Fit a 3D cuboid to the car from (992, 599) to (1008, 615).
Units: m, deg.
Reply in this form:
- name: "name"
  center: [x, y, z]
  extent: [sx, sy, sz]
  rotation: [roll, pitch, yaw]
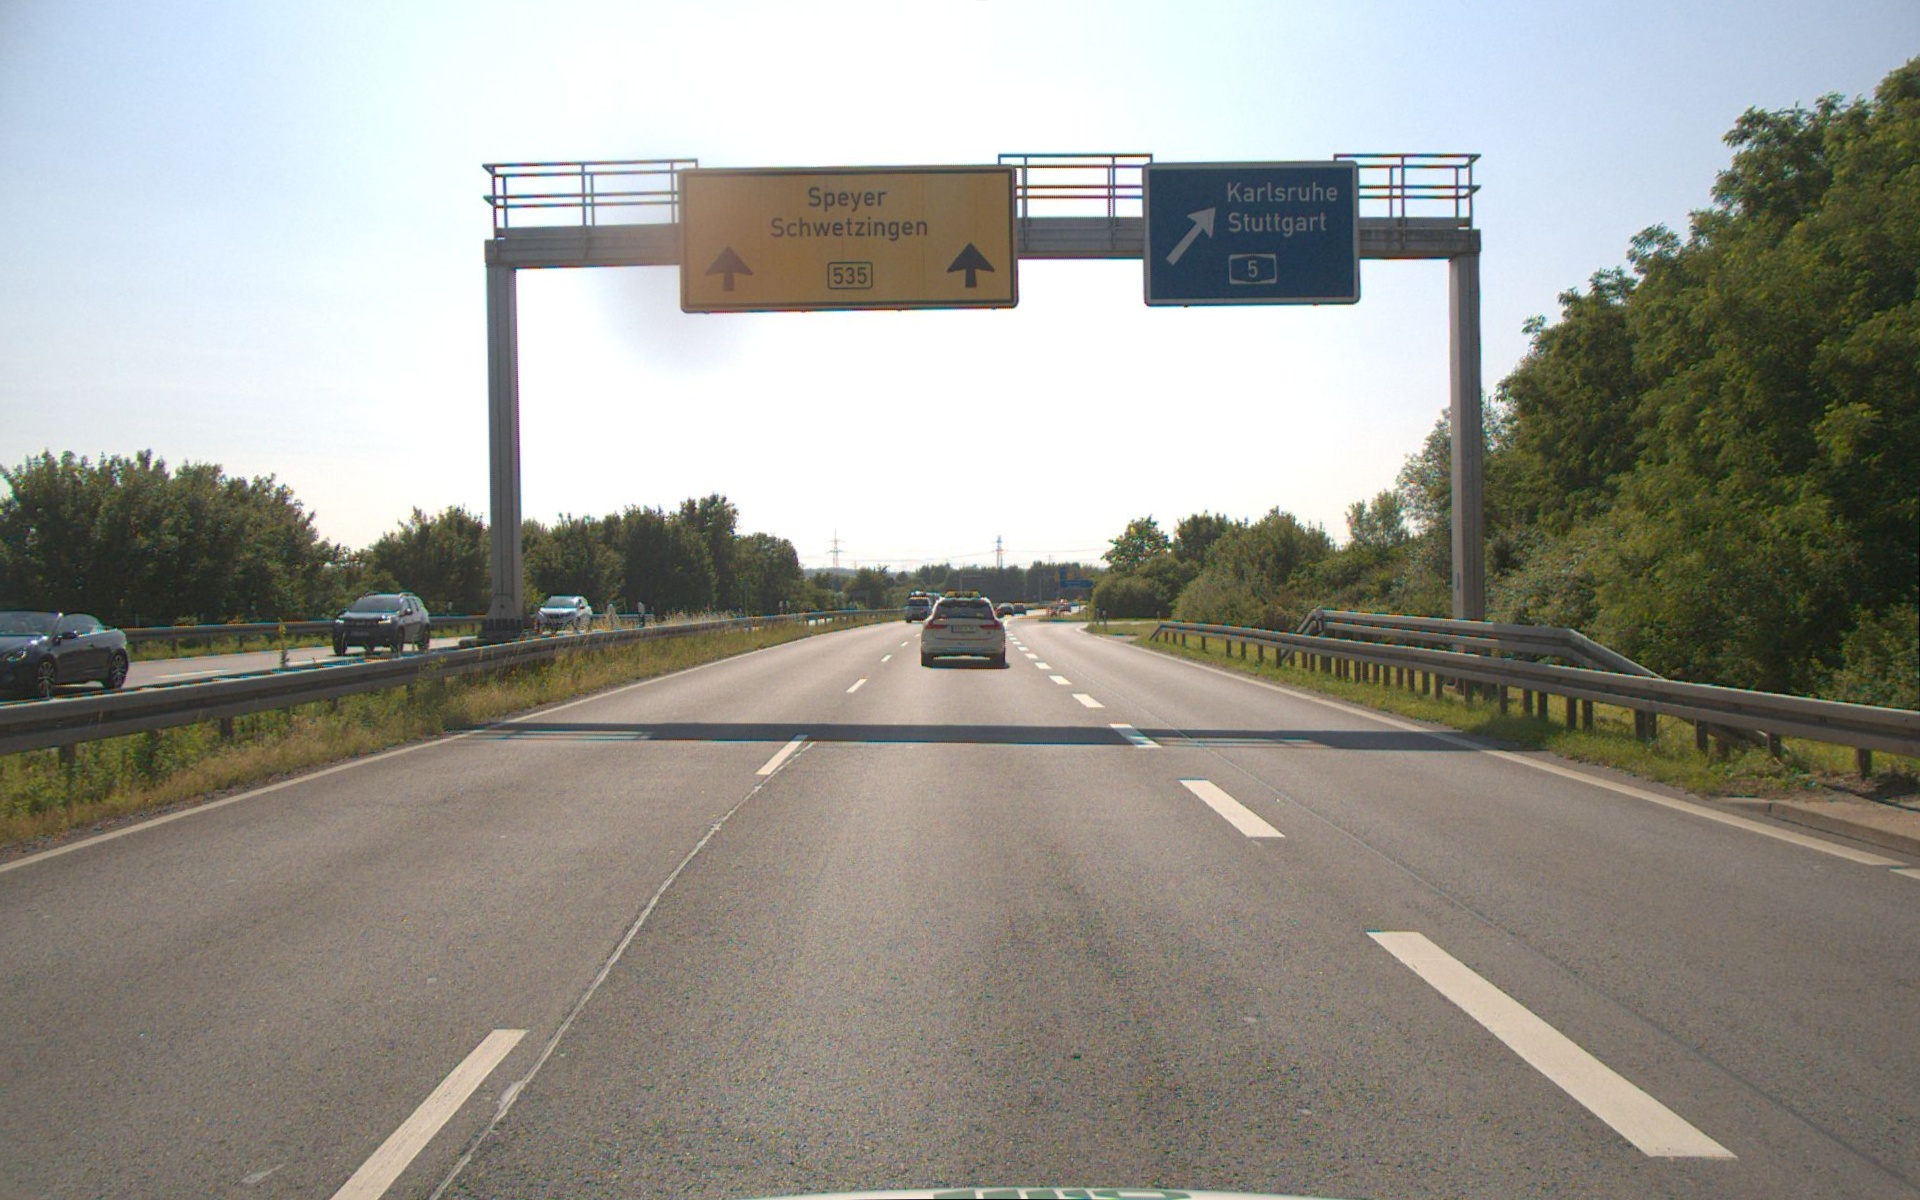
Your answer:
- name: "car"
  center: [4.559, 0.764, 190.375]
  extent: [1.803, 1.834, 4.000]
  rotation: [0, 0, 1]

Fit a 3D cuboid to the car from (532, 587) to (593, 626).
- name: "car"
  center: [-17.603, 0.284, 73.419]
  extent: [1.864, 1.648, 4.626]
  rotation: [1, 0, -4]

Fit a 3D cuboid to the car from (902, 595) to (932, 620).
- name: "car"
  center: [-2.678, 0.458, 102.561]
  extent: [1.757, 1.529, 4.041]
  rotation: [0, 0, -3]

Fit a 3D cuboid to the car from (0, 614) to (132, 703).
- name: "car"
  center: [-15.460, 0.926, 27.622]
  extent: [1.534, 1.292, 3.714]
  rotation: [0, 1, -3]

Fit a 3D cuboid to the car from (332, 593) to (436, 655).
- name: "car"
  center: [-16.260, 0.639, 46.879]
  extent: [1.698, 1.645, 4.001]
  rotation: [0, 1, -3]

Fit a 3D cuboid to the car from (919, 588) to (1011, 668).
- name: "car"
  center: [0.059, 0.572, 36.874]
  extent: [1.918, 1.629, 4.106]
  rotation: [1, 1, -1]

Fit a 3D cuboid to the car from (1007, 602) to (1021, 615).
- name: "car"
  center: [7.102, 1.080, 216.560]
  extent: [1.803, 1.728, 4.001]
  rotation: [0, 0, 1]

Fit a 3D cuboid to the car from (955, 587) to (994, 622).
- name: "car"
  center: [0.652, 0.225, 76.402]
  extent: [1.756, 1.570, 3.671]
  rotation: [0, 0, -1]
